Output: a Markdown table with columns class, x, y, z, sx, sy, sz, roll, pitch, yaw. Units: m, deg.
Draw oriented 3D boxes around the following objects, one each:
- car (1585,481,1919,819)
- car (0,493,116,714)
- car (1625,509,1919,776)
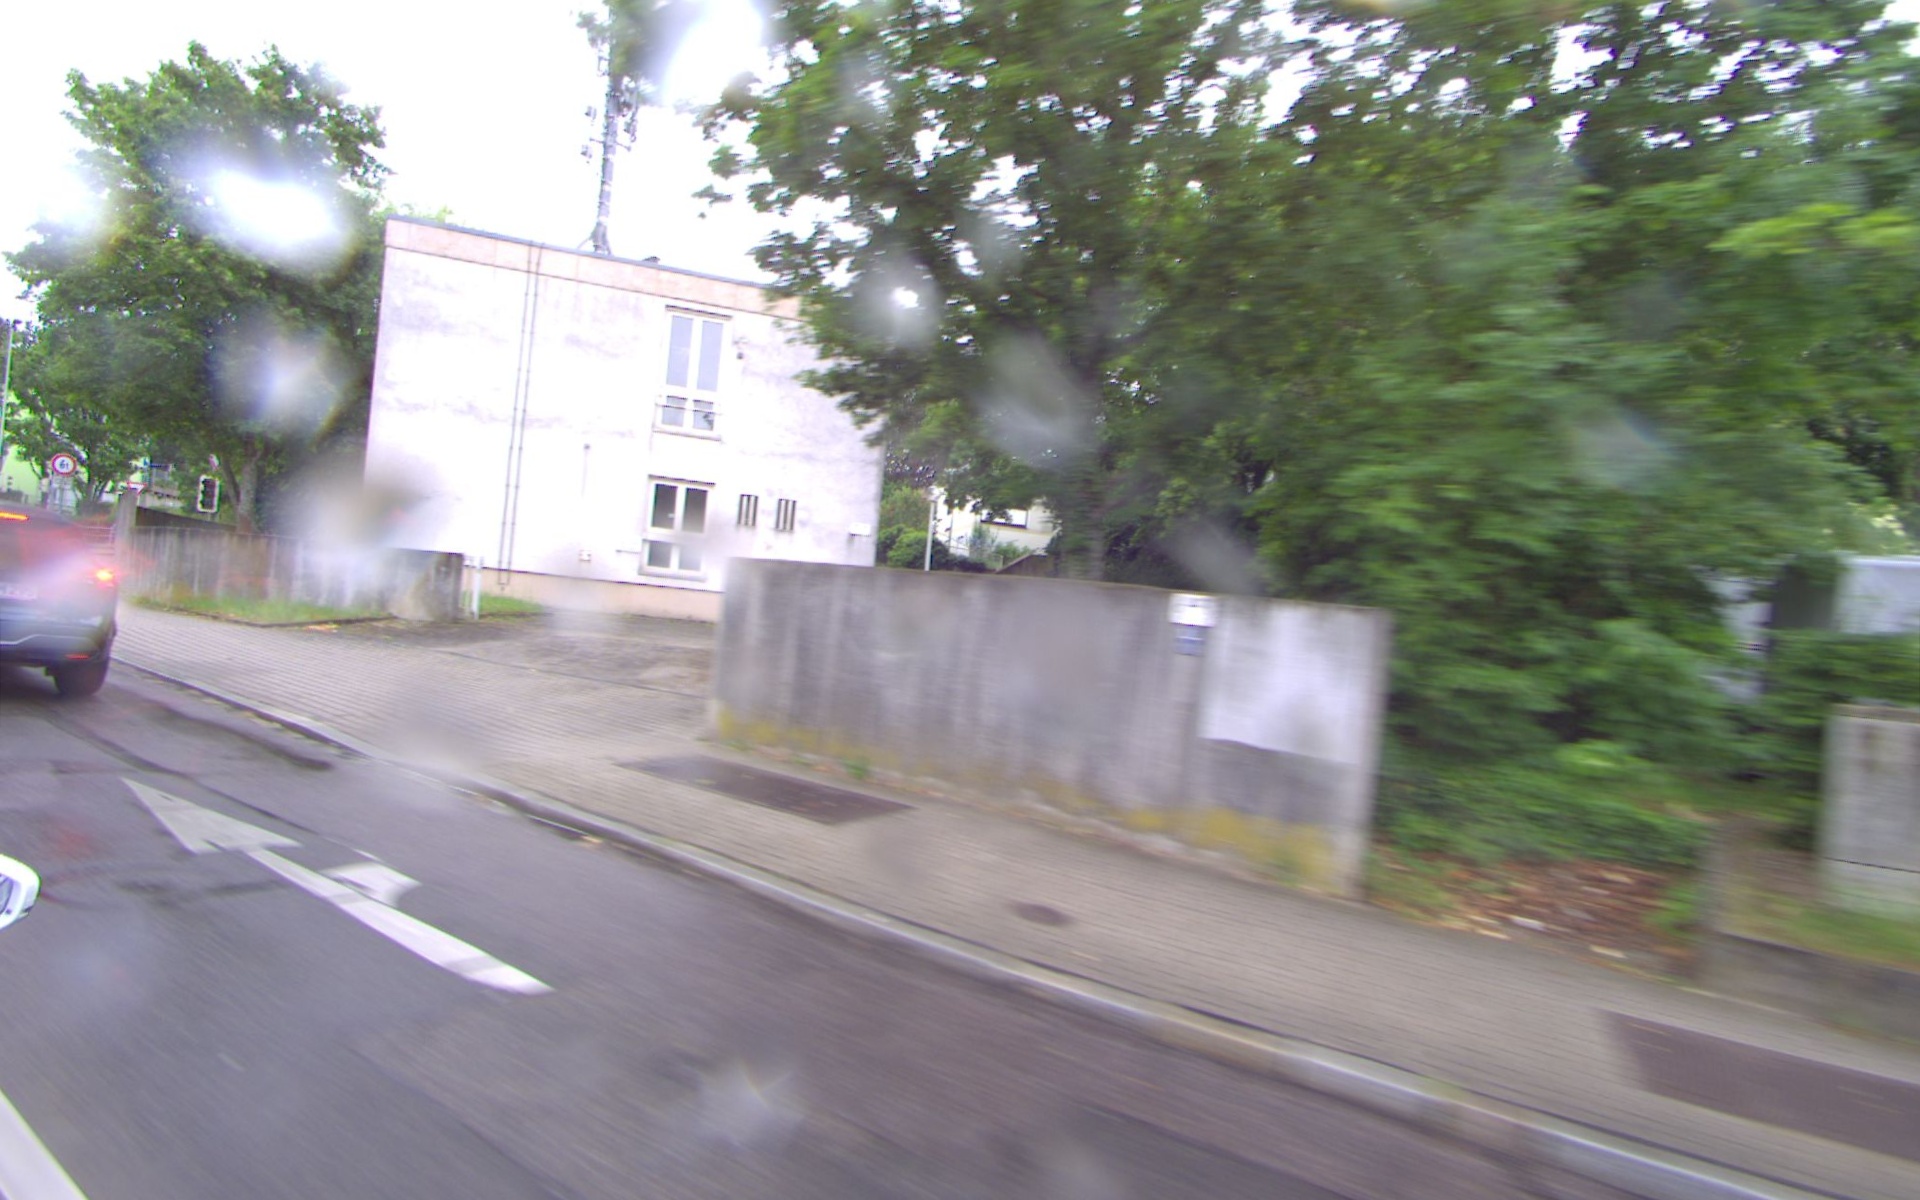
| class | x | y | z | sx | sy | sz | roll | pitch | yaw |
| --- | --- | --- | --- | --- | --- | --- | --- | --- | --- |
| car | 7.756 | 0.598 | 8.058 | 4.058 | 2.252 | 2.001 | 10 | 0 | 22 |
| car | -9.221 | -0.202 | 8.723 | 4.186 | 1.622 | 1.791 | 8 | 0 | 35 |
| car | 10.325 | 0.699 | 10.554 | 4.924 | 2.310 | 2.053 | 10 | 0 | 19 |
